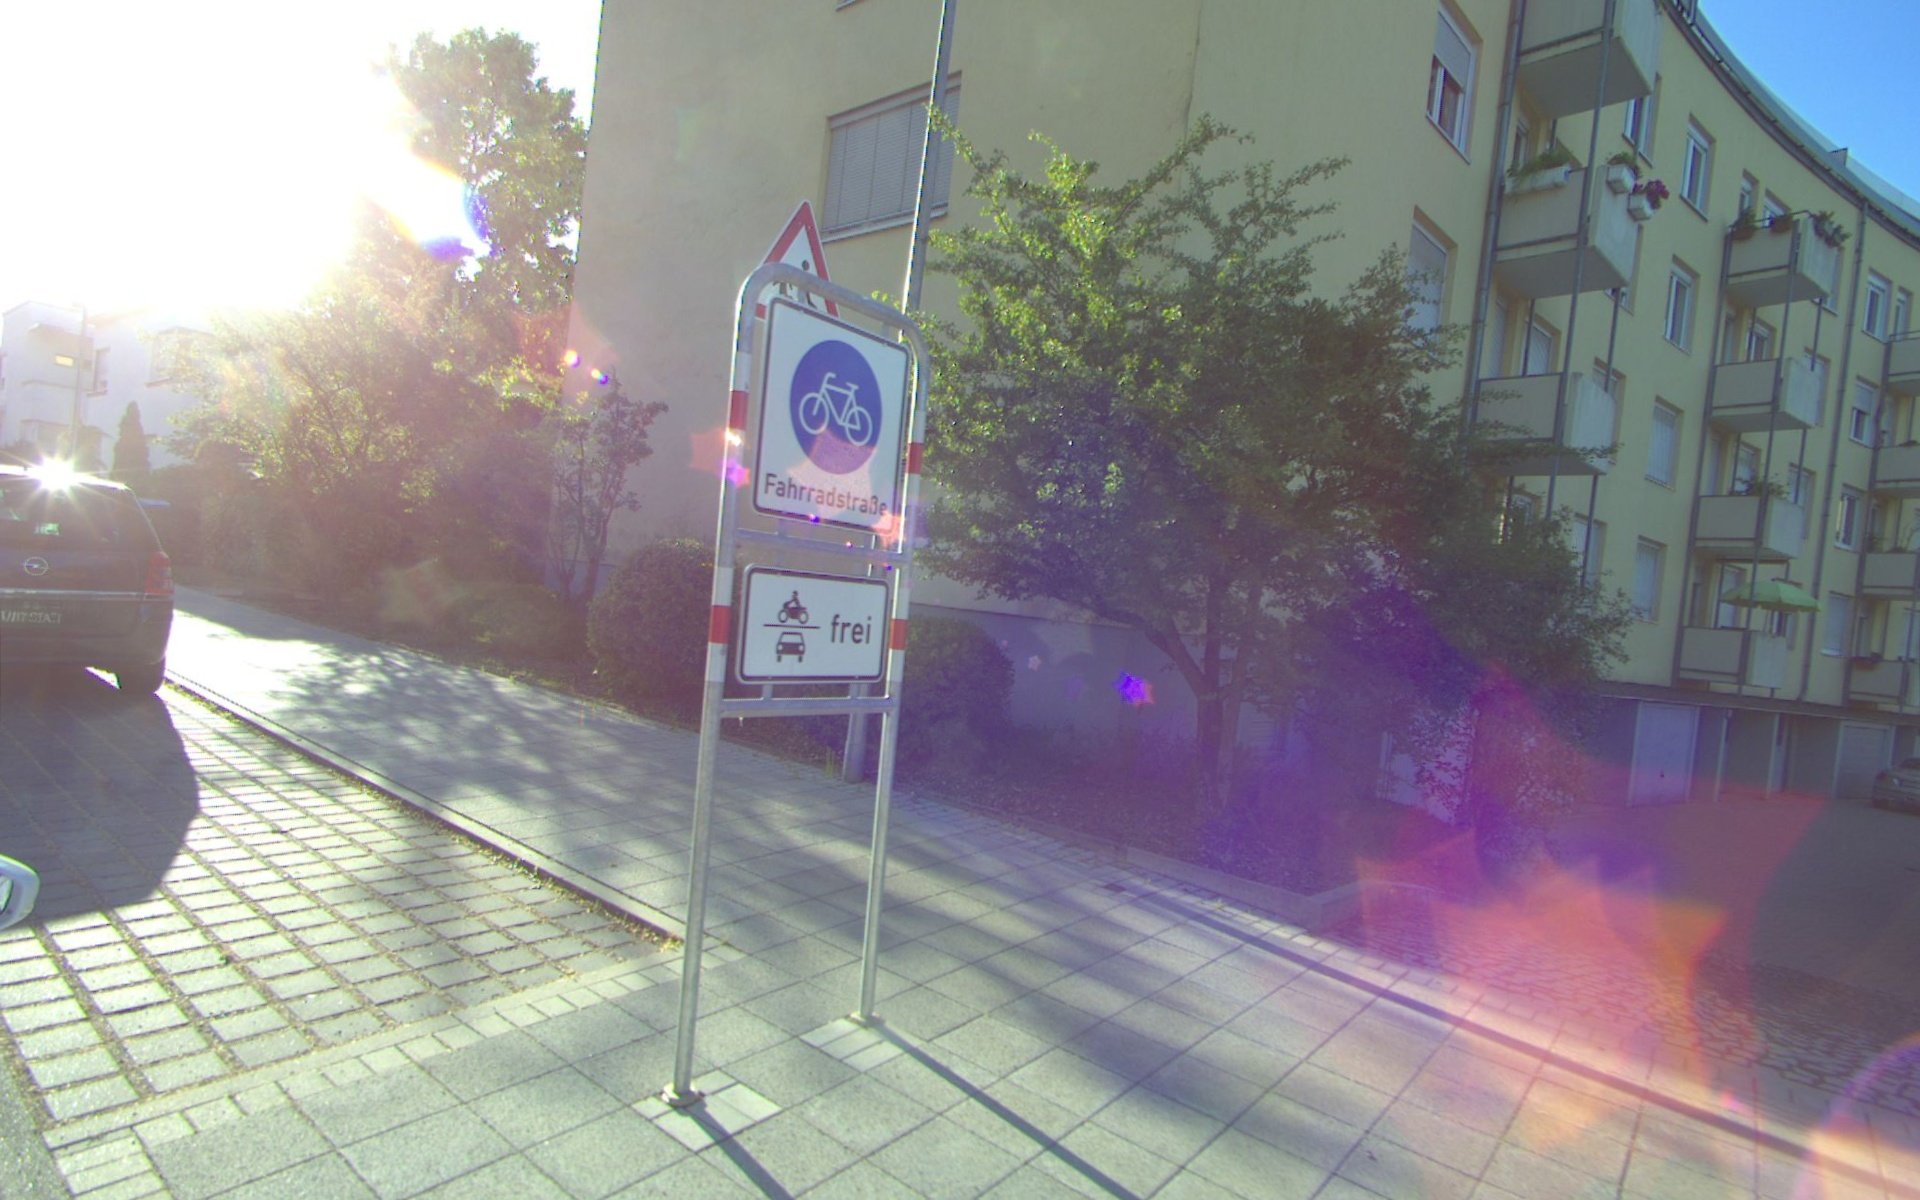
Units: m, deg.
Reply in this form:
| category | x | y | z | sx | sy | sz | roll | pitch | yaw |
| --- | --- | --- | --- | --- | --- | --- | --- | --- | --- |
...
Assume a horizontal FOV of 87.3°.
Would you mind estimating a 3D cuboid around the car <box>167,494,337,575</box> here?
| category | x | y | z | sx | sy | sz | roll | pitch | yaw |
| --- | --- | --- | --- | --- | --- | --- | --- | --- | --- |
| car | -19.088 | -1.739 | 27.188 | 3.482 | 1.662 | 1.623 | 7 | 0 | -43 |

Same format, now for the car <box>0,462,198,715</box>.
| category | x | y | z | sx | sy | sz | roll | pitch | yaw |
| --- | --- | --- | --- | --- | --- | --- | --- | --- | --- |
| car | -7.683 | -0.250 | 7.879 | 4.106 | 1.632 | 1.707 | 7 | 3 | 38 |

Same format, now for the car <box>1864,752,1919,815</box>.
| category | x | y | z | sx | sy | sz | roll | pitch | yaw |
| --- | --- | --- | --- | --- | --- | --- | --- | --- | --- |
| car | 23.759 | 4.549 | 24.445 | 3.335 | 1.296 | 1.630 | 7 | 0 | -30 |

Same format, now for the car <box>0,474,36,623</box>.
| category | x | y | z | sx | sy | sz | roll | pitch | yaw |
| --- | --- | --- | --- | --- | --- | --- | --- | --- | --- |
| car | -12.086 | -0.753 | 11.454 | 4.083 | 1.576 | 1.676 | 7 | 2 | 39 |

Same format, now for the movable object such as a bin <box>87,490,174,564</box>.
| category | x | y | z | sx | sy | sz | roll | pitch | yaw |
| --- | --- | --- | --- | --- | --- | --- | --- | --- | --- |
| movable object such as a bin | -18.468 | -1.627 | 22.391 | 1.107 | 1.450 | 1.235 | 7 | 0 | 41 |
